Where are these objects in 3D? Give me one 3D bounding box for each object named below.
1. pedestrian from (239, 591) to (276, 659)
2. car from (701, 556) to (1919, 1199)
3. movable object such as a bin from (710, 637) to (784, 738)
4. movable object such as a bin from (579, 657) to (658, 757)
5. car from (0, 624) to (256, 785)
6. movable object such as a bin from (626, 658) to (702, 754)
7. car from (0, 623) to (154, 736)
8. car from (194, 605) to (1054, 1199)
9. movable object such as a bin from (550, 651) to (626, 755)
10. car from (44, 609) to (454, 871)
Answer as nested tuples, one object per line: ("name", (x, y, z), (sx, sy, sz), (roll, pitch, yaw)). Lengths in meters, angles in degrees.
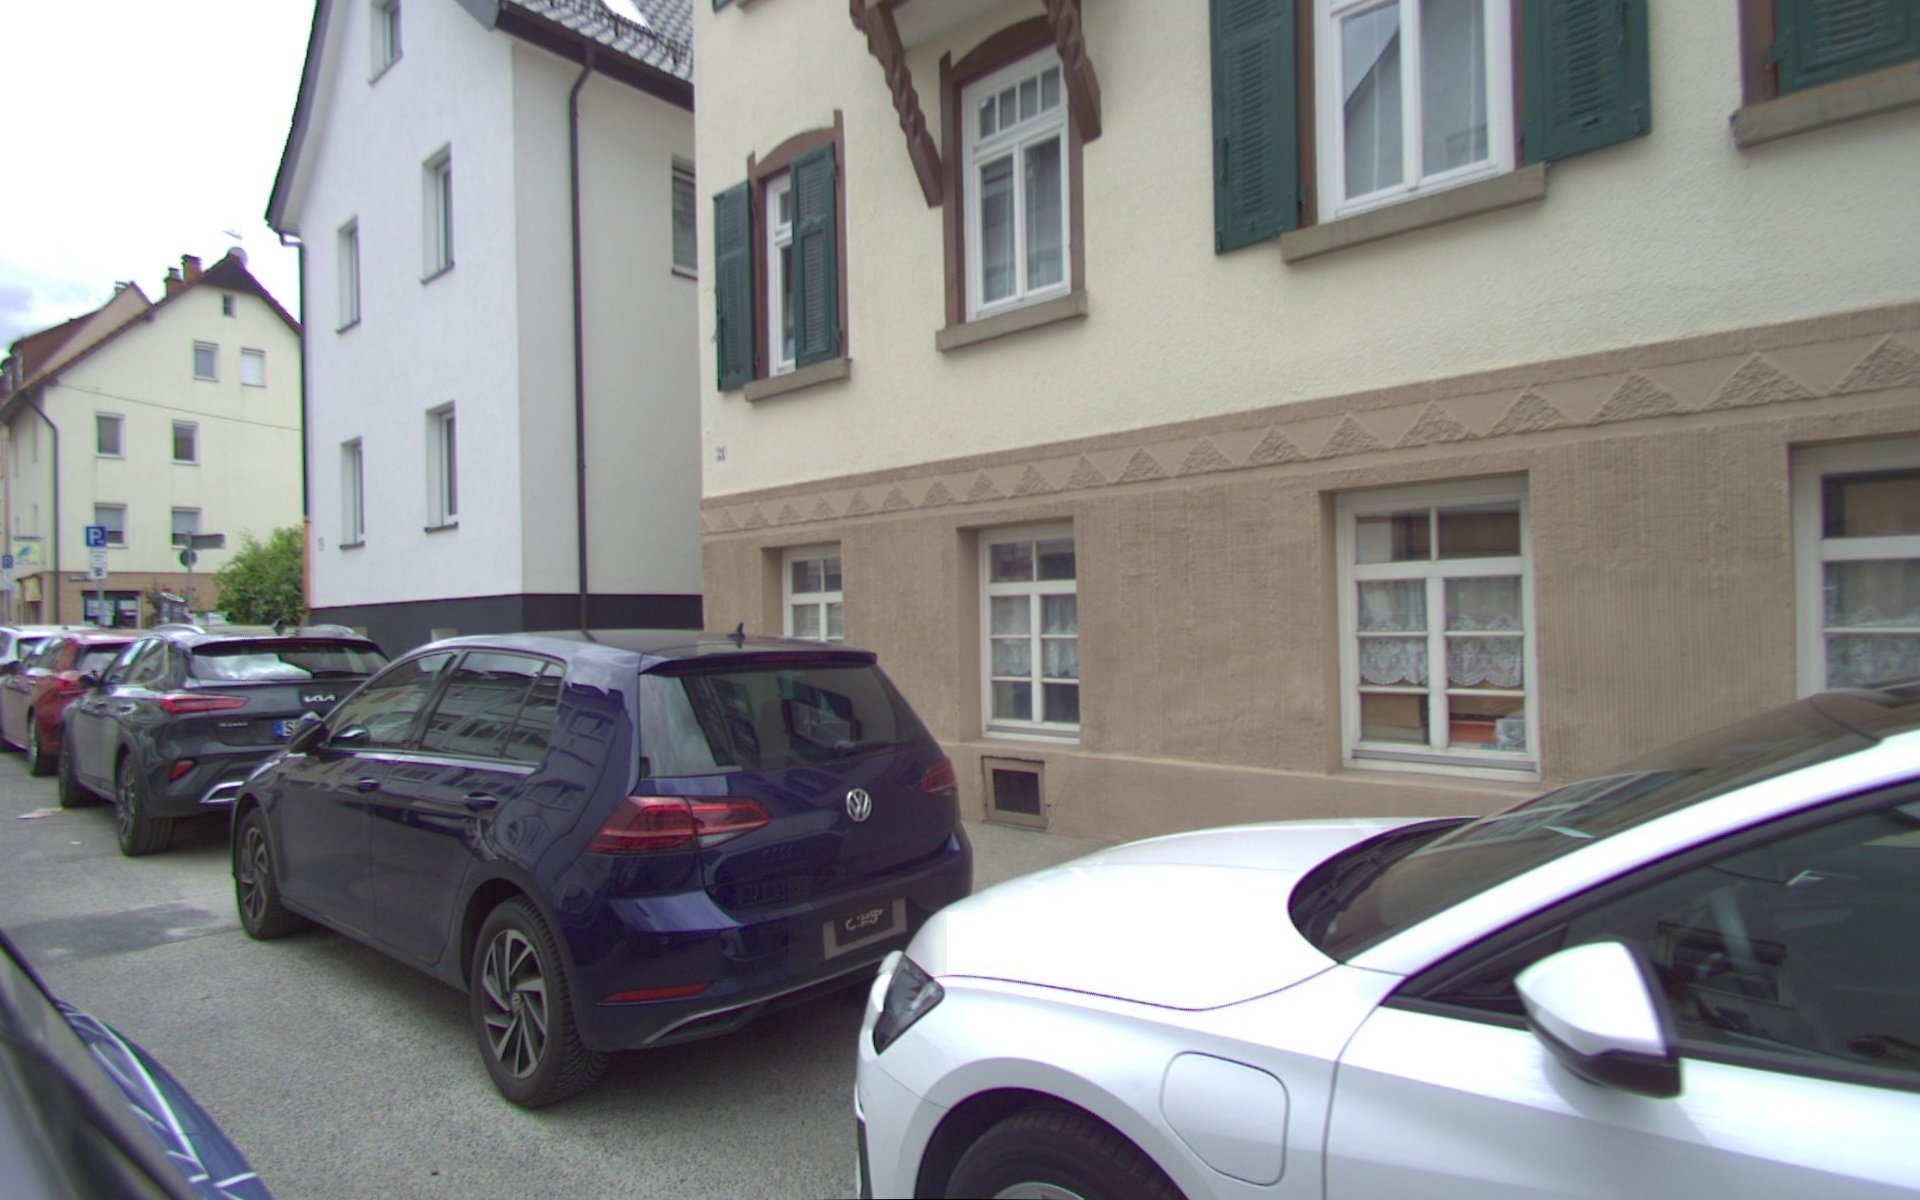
("pedestrian", (-17.574, 0.610, 25.313), (0.624, 1.644, 0.542), (2, 2, 31))
("car", (1.646, 0.714, 1.458), (4.368, 1.443, 1.733), (-1, -3, 41))
("movable object such as a bin", (-2.455, 0.990, 11.641), (0.668, 1.094, 0.508), (-2, -1, 41))
("movable object such as a bin", (-3.458, 1.062, 10.252), (0.603, 0.939, 0.508), (-2, -1, 41))
("car", (-9.551, 1.037, 11.369), (4.065, 1.460, 1.733), (-1, -3, 41))
("movable object such as a bin", (-3.118, 1.097, 10.658), (0.603, 0.939, 0.508), (-2, -1, 41))
("car", (-13.683, 1.084, 14.992), (4.344, 1.442, 1.735), (0, -3, 38))
("car", (-1.852, 0.803, 4.561), (4.369, 1.467, 1.733), (-1, -3, 42))
("movable object such as a bin", (-3.922, 1.064, 10.678), (0.603, 1.023, 0.508), (-2, -1, 41))
("car", (-5.720, 0.871, 7.940), (4.084, 1.521, 1.733), (-1, -3, 42))
